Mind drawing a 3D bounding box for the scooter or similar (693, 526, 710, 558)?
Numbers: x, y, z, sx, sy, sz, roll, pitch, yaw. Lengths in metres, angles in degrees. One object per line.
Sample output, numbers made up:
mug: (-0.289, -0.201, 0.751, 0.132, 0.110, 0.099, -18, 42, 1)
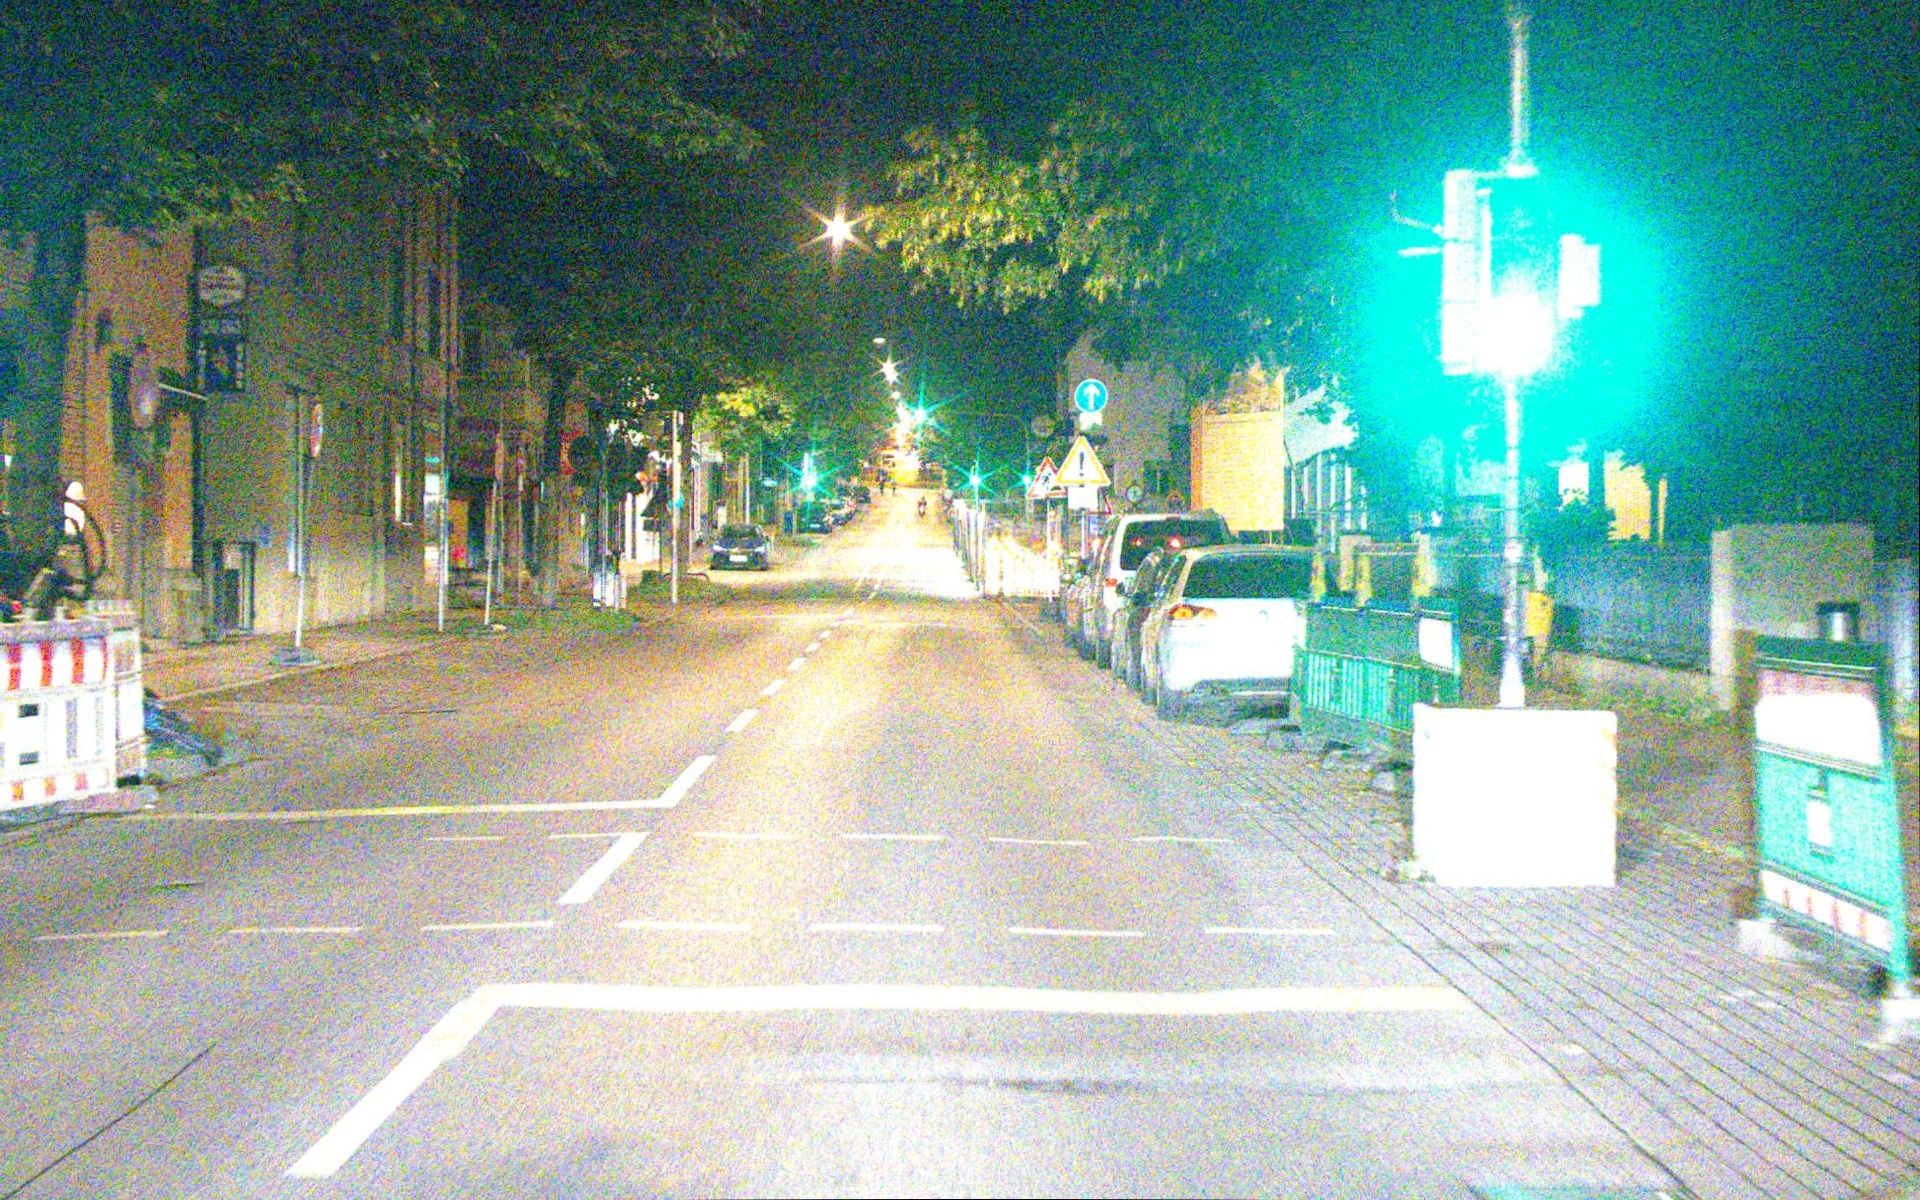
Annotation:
scooter or similar: (-10.102, -2.258, 134.447, 0.528, 1.161, 2.507, -1, 0, -1)

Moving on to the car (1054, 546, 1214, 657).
car: (2.302, -0.013, 46.506, 1.727, 1.414, 4.324, 0, 1, -3)

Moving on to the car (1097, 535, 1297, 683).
car: (2.380, 0.047, 35.465, 1.686, 1.416, 4.444, 0, 1, -1)

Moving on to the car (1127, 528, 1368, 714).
car: (2.466, 0.140, 30.315, 1.739, 1.472, 4.000, -2, 1, 0)

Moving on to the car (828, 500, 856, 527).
car: (-8.312, -6.094, 242.258, 1.873, 1.808, 4.205, 0, 1, -1)

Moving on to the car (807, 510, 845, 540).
car: (-7.019, -3.937, 180.515, 1.873, 1.539, 4.205, 1, 1, -1)

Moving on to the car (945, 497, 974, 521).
car: (-0.015, -6.127, 231.011, 1.873, 1.539, 4.205, 1, 1, -1)

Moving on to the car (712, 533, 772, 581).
car: (-6.872, -1.370, 108.490, 1.671, 1.438, 4.205, 1, 1, -1)

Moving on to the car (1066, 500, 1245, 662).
car: (2.303, -0.251, 41.461, 1.735, 1.849, 4.317, 0, 1, -2)
